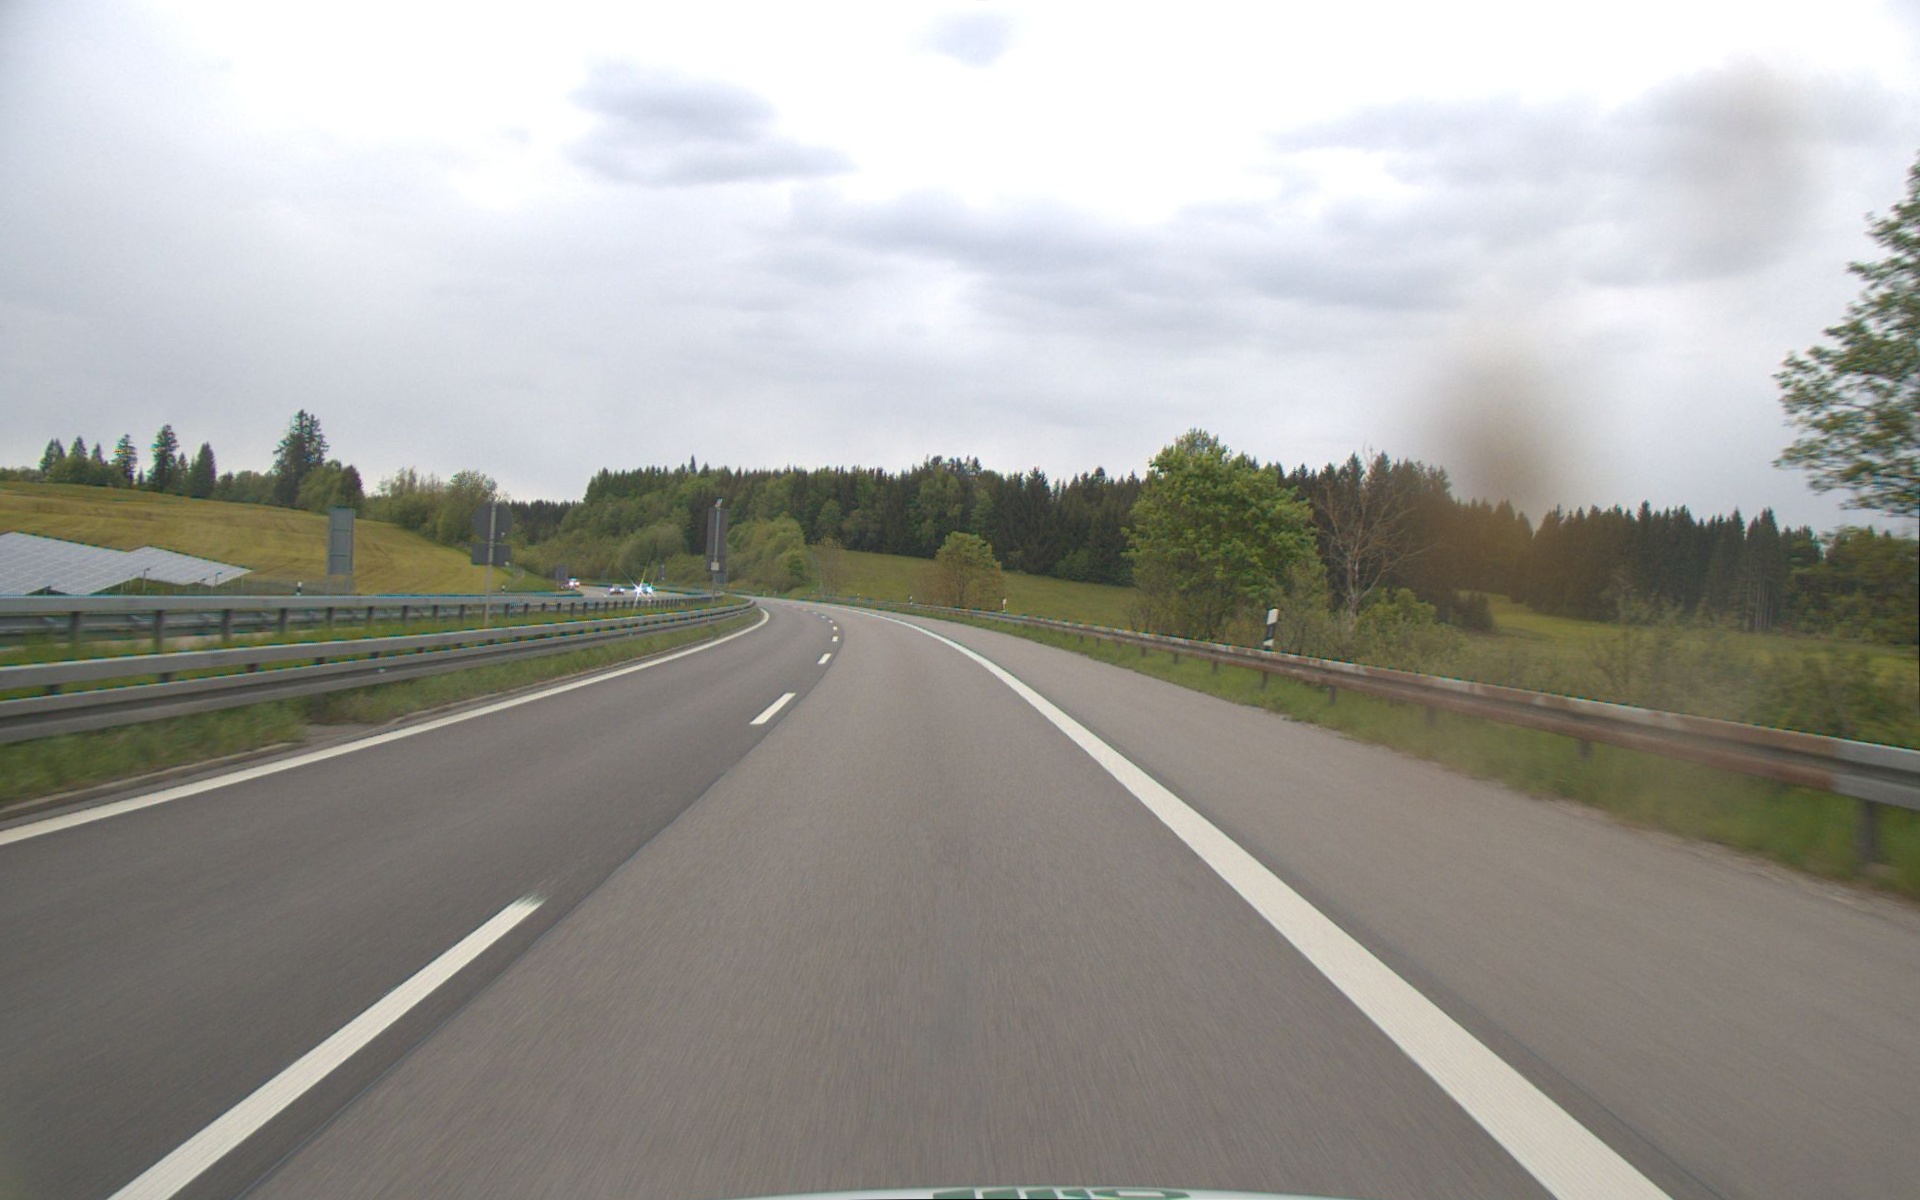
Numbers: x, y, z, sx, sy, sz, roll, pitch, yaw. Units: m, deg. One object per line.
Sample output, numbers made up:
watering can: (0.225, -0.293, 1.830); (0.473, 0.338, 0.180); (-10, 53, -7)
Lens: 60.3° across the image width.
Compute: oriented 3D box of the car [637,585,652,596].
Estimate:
car: (-45.623, -1.405, 239.048); (1.959, 1.442, 3.987); (4, 0, -13)

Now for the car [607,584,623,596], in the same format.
car: (-47.967, -1.423, 229.983); (1.959, 1.465, 4.984); (4, 0, -13)
